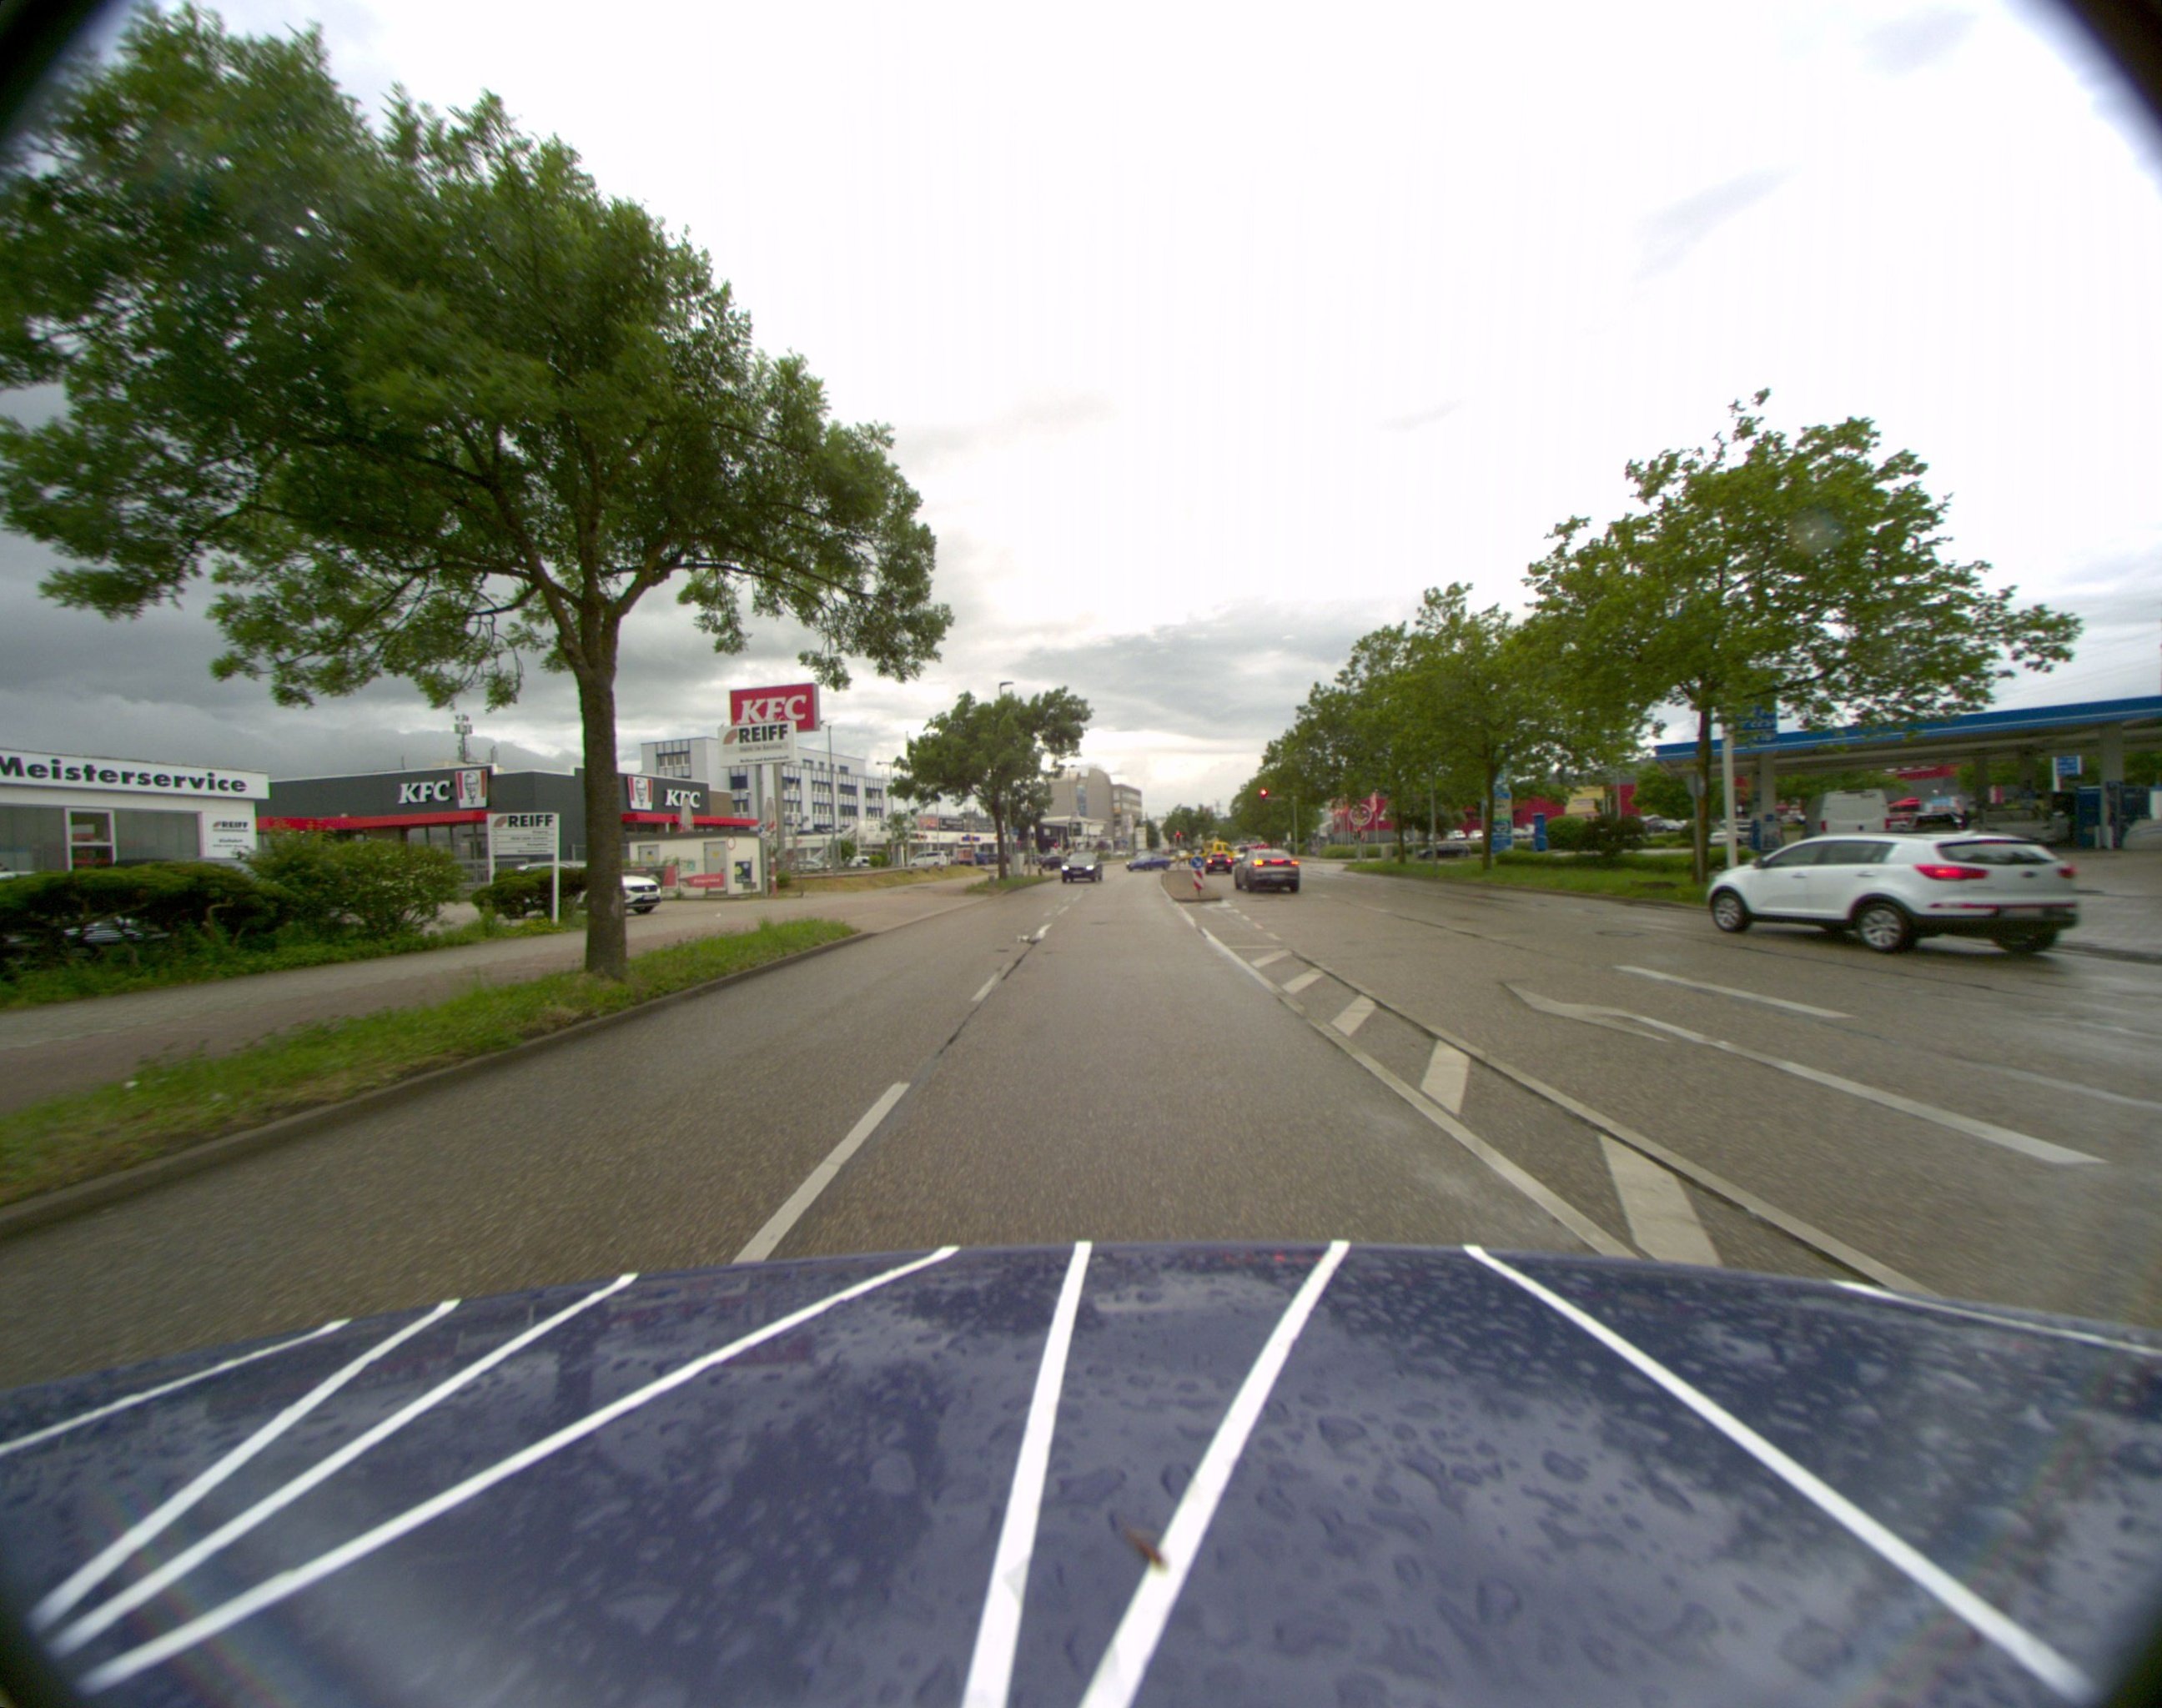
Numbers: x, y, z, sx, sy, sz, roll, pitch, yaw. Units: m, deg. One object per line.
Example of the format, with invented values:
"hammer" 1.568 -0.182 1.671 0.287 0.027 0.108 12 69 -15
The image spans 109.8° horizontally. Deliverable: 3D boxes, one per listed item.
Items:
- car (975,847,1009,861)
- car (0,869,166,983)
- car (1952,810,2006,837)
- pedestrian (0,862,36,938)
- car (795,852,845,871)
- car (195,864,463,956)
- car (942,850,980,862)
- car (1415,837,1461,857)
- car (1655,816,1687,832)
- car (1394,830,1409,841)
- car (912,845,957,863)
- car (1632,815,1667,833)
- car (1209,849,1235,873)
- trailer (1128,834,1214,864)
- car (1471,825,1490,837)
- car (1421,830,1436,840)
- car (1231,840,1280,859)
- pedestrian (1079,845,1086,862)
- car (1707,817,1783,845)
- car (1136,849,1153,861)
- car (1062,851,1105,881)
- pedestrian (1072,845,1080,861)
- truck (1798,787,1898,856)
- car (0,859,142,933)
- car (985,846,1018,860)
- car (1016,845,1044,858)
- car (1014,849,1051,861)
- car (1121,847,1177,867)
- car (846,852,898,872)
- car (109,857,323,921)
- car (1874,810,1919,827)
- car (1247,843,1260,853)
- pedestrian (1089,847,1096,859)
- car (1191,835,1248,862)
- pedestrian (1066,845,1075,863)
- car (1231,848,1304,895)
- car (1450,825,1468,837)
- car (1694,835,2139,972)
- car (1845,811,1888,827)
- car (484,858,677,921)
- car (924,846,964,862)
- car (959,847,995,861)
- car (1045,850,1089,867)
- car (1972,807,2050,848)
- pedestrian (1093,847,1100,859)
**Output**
"car" -12.588 -0.010 107.548 4.366 1.754 1.899 -1 1 16
"car" -16.517 1.020 11.594 3.933 1.514 1.734 -1 1 15
"car" 62.406 -2.068 52.850 1.790 1.718 4.008 -1 0 40
"pedestrian" -24.410 1.040 17.324 0.439 1.695 0.515 -2 2 -24
"car" -24.403 0.684 70.988 3.993 1.698 1.826 -1 1 12
"car" -13.888 0.975 14.083 3.992 1.513 1.720 -1 1 15
"car" -15.406 0.262 97.533 4.366 1.386 1.825 -1 0 16
"car" 33.151 -0.692 70.554 3.534 1.687 1.603 -2 1 11
"car" 69.832 -3.530 89.967 1.670 1.636 3.831 -1 0 14
"car" 53.818 -3.104 127.732 1.694 1.636 3.967 -1 0 14
"car" -17.293 -0.018 89.759 4.777 2.002 2.002 -1 0 17
"car" 78.822 -4.092 105.452 1.823 2.290 5.653 -1 0 14
"car" 9.486 0.458 51.352 1.646 1.499 3.896 -1 0 9
"trailer" 8.745 -0.515 73.873 7.975 2.459 2.308 -3 -1 -16
"car" 60.559 -3.470 115.171 1.670 1.636 3.967 -1 0 14
"car" 59.964 -3.297 131.147 1.694 1.636 3.967 -1 0 14
"car" 16.399 -0.426 71.459 4.001 1.544 1.899 -3 1 -12
"pedestrian" 0.186 -0.067 94.471 0.740 2.002 0.698 -1 0 12
"car" 45.083 -1.555 51.641 3.698 1.787 1.813 -1 1 -4
"car" 8.007 0.141 95.711 1.753 1.455 4.003 -1 0 10
"car" 0.210 0.638 42.969 1.899 1.544 4.594 -1 0 7
"pedestrian" -0.650 -0.114 92.240 0.814 1.846 0.698 0 3 17
"truck" 33.586 -1.297 33.504 2.149 2.659 7.890 -1 0 38
"car" -23.583 0.931 16.644 3.856 1.470 1.787 -2 1 2
"car" -11.454 -0.123 109.890 4.366 1.895 1.899 -1 1 16
"car" -8.177 -0.351 121.543 3.991 2.002 1.913 -1 1 19
"car" -5.978 0.166 94.159 4.118 1.386 1.826 -1 0 19
"car" 5.856 0.278 65.135 4.559 1.623 1.797 -1 1 -33
"car" -19.321 0.788 70.256 4.242 1.772 1.801 -1 -2 12
"car" -24.331 0.948 21.470 3.995 1.670 1.958 -1 1 5
"car" 91.311 -3.957 85.104 1.670 1.636 3.831 -1 0 14
"car" 25.211 -0.809 111.011 1.785 1.396 4.004 -1 0 15
"pedestrian" 1.596 -0.111 103.707 0.700 1.701 0.698 -1 0 17
"car" 13.815 -0.552 75.761 5.021 2.459 2.243 -3 -1 -25
"pedestrian" -1.191 -0.007 89.122 0.817 2.002 0.695 -1 1 -27
"car" 6.964 0.596 28.833 1.816 1.553 4.598 -1 1 2
"car" 64.421 -3.837 129.513 1.788 1.914 3.753 -1 0 13
"car" 11.718 0.563 11.260 1.932 1.610 4.399 -1 1 4
"car" 88.612 -3.902 85.764 1.670 1.636 3.831 -1 0 14
"car" -13.620 0.953 20.788 4.182 1.543 1.891 -1 0 9
"car" -16.720 0.005 93.006 4.366 1.809 1.899 -1 1 16
"car" -14.012 -0.053 102.719 4.366 1.754 1.899 -1 1 16
"car" -1.328 0.429 73.561 3.994 1.532 1.815 -2 2 8
"car" 38.446 -1.121 31.492 1.684 1.573 3.569 -1 2 45
"pedestrian" 2.160 -0.176 106.272 0.713 1.701 0.698 -1 0 17
